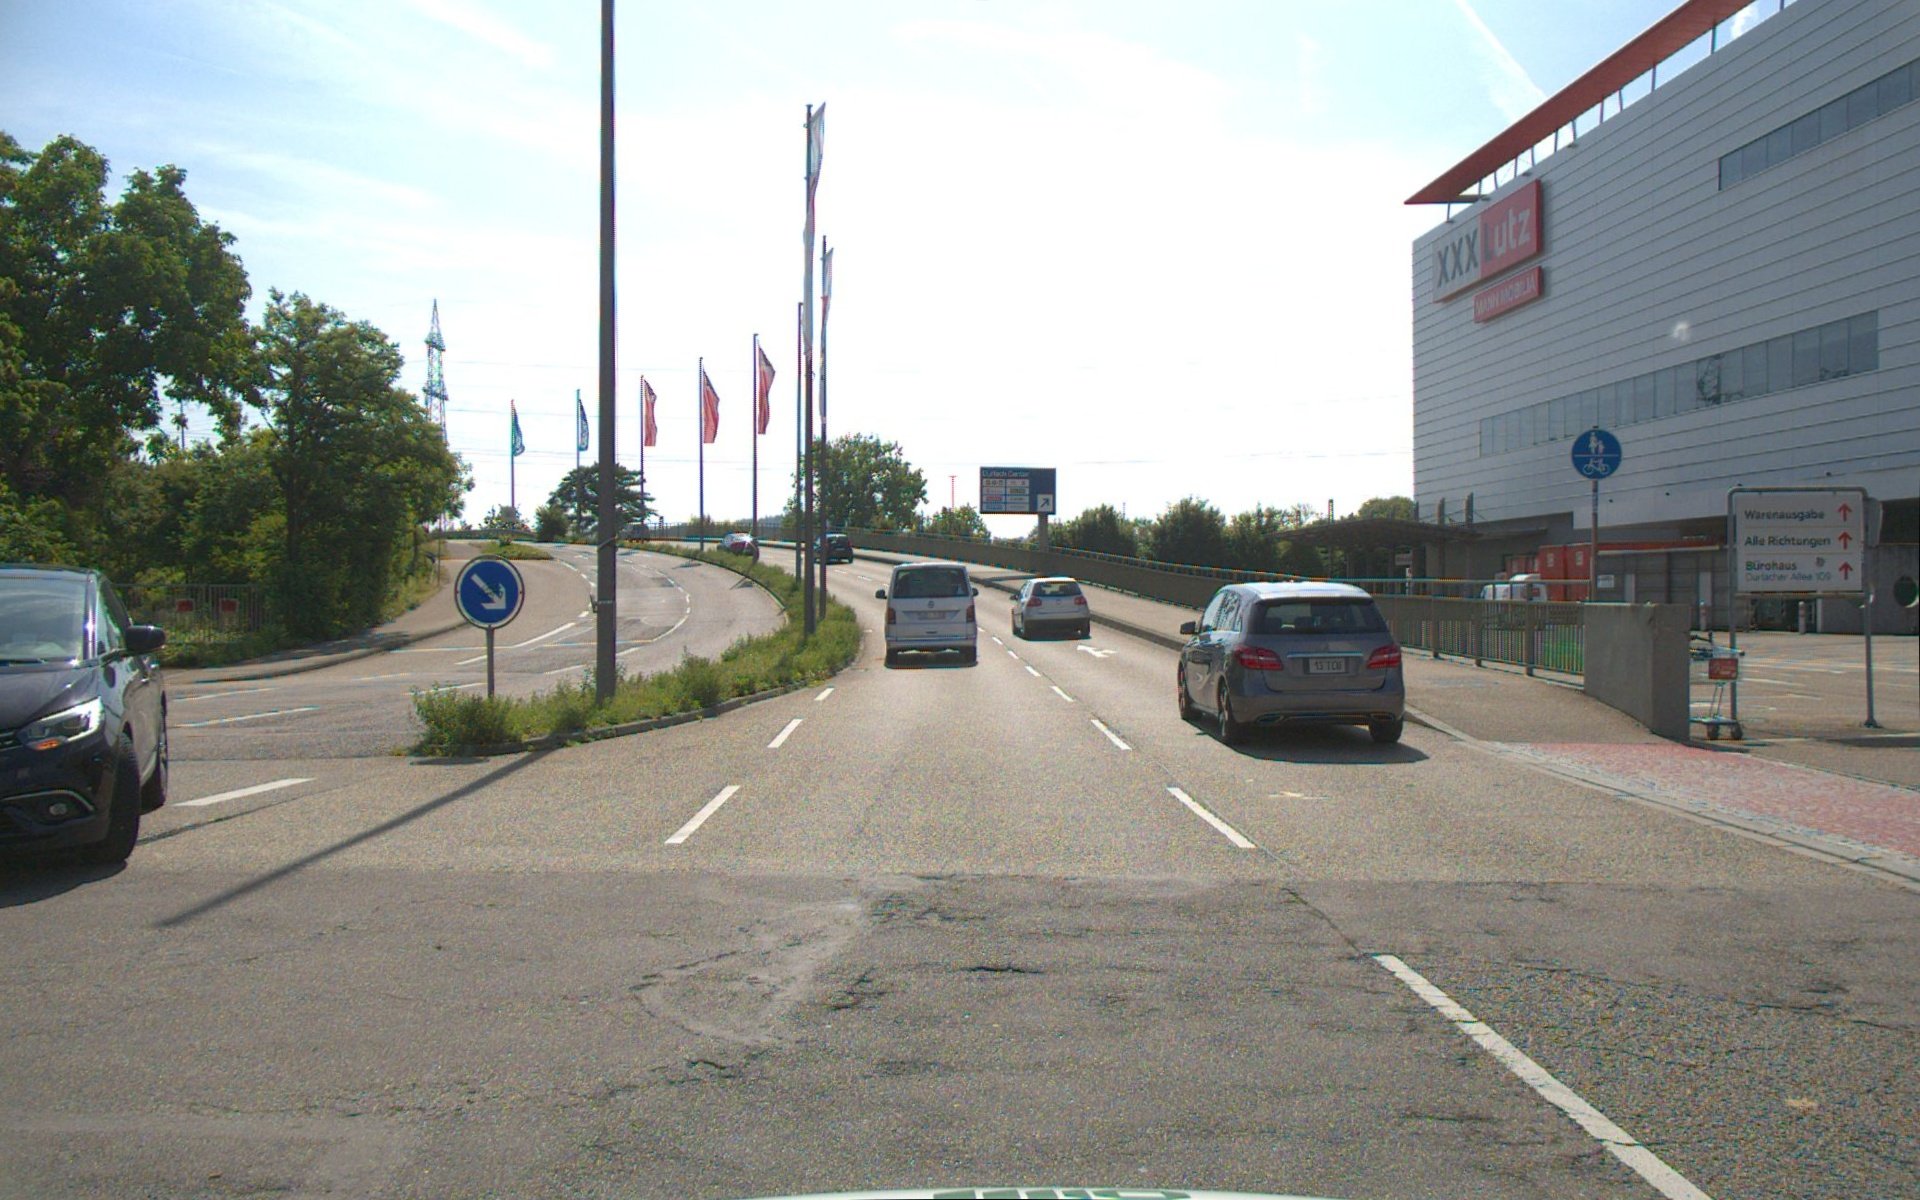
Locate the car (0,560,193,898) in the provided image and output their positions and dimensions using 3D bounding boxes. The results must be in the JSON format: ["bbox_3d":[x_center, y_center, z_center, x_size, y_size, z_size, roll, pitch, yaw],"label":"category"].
[{"bbox_3d":[-5.676,0.619,9.853,1.890,1.634,4.240,0,0,-24],"label":"car"}]

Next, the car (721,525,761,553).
[{"bbox_3d":[-12.923,-3.596,97.540,1.510,1.505,3.224,1,0,-23],"label":"car"}]

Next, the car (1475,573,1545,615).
[{"bbox_3d":[24.535,-0.287,73.908,1.639,1.782,4.092,0,1,-2],"label":"car"}]

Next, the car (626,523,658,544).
[{"bbox_3d":[-25.219,-5.266,131.010,1.514,1.506,3.393,1,0,-28],"label":"car"}]

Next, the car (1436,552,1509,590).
[{"bbox_3d":[31.569,-1.783,101.986,3.998,2.313,1.677,0,1,-3],"label":"car"}]

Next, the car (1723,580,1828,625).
[{"bbox_3d":[29.125,0.071,59.210,1.639,1.536,4.092,0,1,-2],"label":"car"}]

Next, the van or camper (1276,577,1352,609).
[{"bbox_3d":[26.630,-0.521,124.510,5.342,2.217,2.092,2,-1,-21],"label":"van or camper"}]

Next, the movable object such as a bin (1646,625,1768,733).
[{"bbox_3d":[8.226,0.853,18.261,0.793,1.133,1.182,0,0,-1],"label":"movable object such as a bin"}]

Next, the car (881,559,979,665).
[{"bbox_3d":[-0.564,0.175,34.136,1.877,2.009,4.298,-1,2,0],"label":"car"}]

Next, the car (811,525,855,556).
[{"bbox_3d":[-6.994,-3.277,90.887,1.508,1.505,3.577,1,3,-19],"label":"car"}]

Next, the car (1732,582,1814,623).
[{"bbox_3d":[31.091,0.082,63.338,1.480,1.494,3.253,0,1,-2],"label":"car"}]

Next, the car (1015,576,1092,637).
[{"bbox_3d":[2.374,0.130,42.889,1.633,1.439,3.681,-1,1,-2],"label":"car"}]

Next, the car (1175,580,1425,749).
[{"bbox_3d":[3.428,0.576,17.420,1.737,1.566,4.137,0,1,-1],"label":"car"}]

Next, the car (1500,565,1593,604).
[{"bbox_3d":[29.936,-0.775,84.449,4.104,1.962,1.775,0,1,-3],"label":"car"}]
